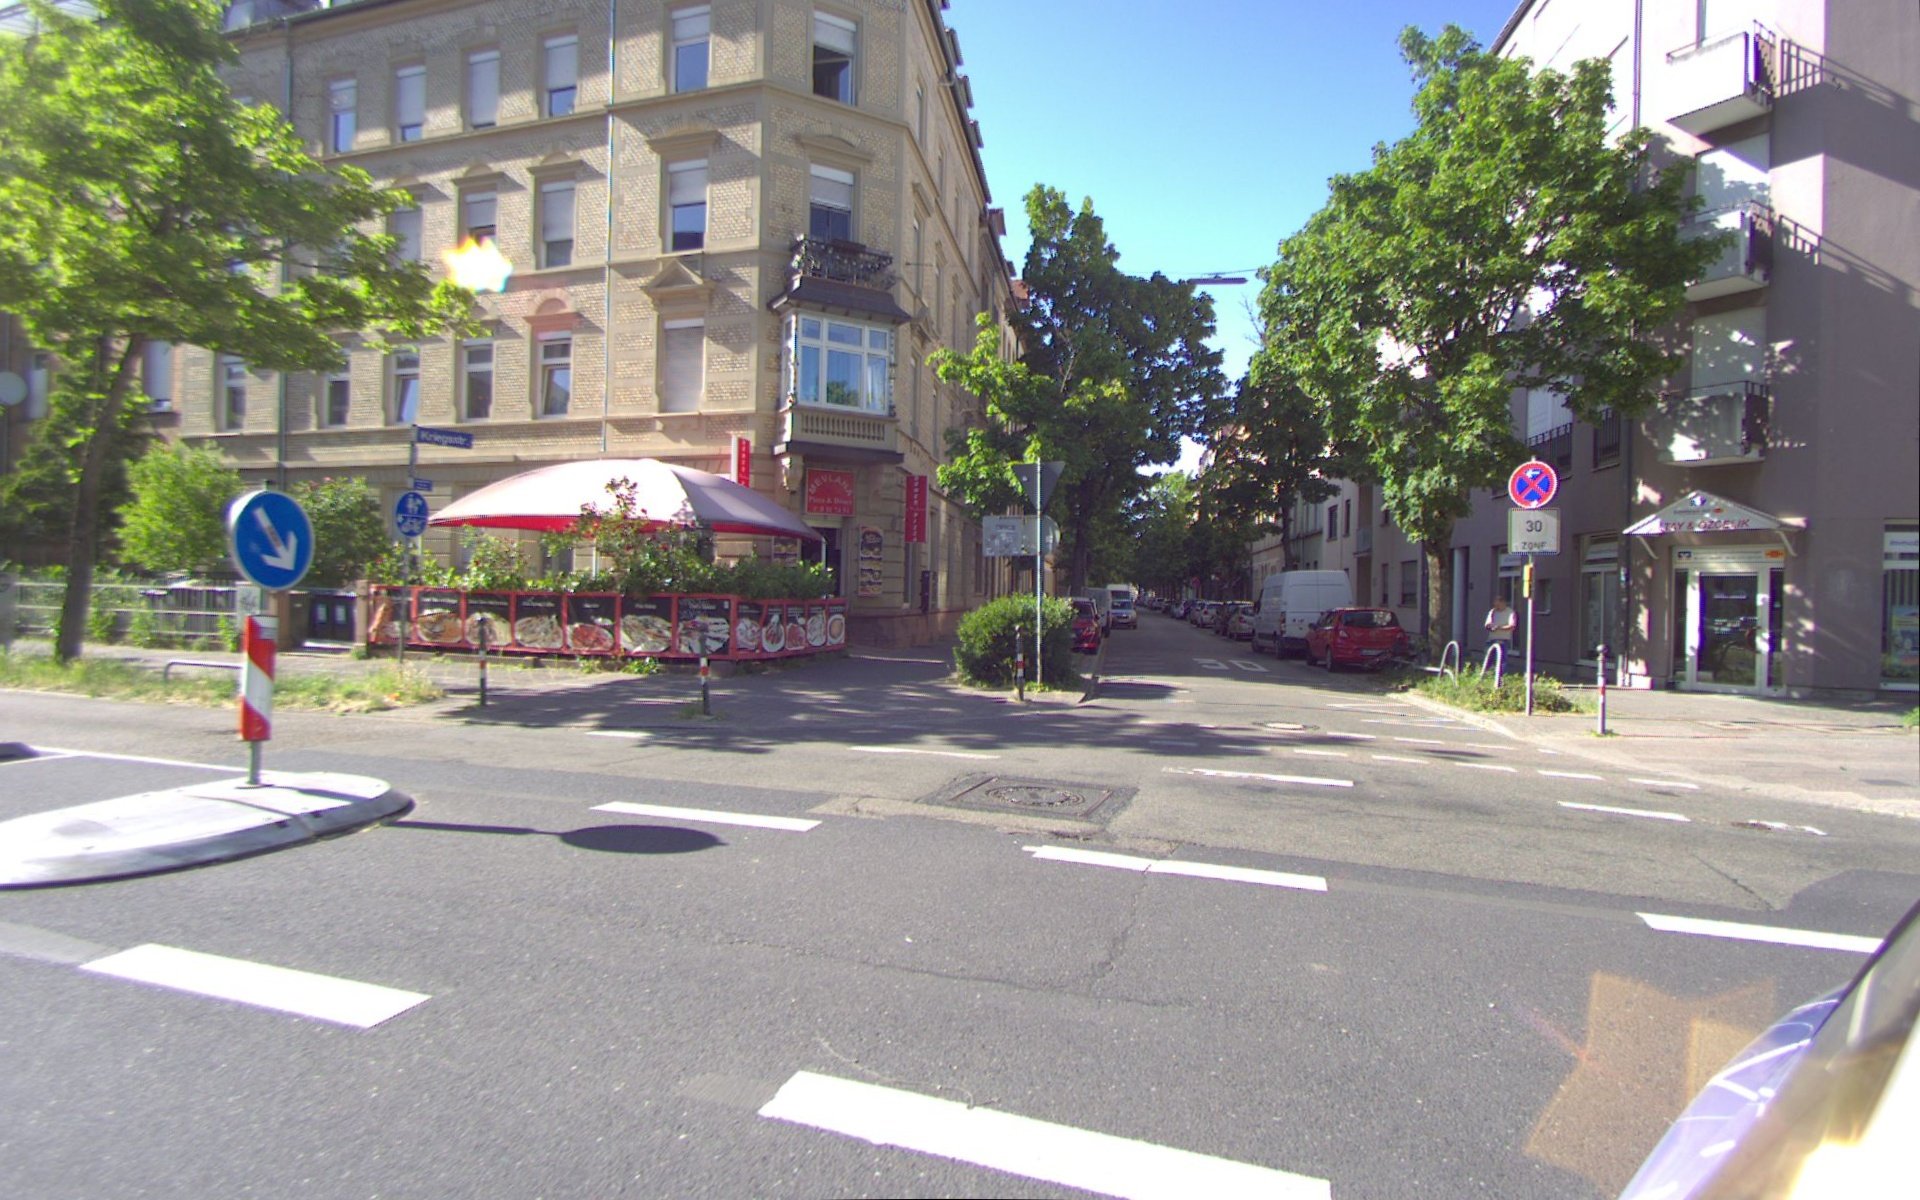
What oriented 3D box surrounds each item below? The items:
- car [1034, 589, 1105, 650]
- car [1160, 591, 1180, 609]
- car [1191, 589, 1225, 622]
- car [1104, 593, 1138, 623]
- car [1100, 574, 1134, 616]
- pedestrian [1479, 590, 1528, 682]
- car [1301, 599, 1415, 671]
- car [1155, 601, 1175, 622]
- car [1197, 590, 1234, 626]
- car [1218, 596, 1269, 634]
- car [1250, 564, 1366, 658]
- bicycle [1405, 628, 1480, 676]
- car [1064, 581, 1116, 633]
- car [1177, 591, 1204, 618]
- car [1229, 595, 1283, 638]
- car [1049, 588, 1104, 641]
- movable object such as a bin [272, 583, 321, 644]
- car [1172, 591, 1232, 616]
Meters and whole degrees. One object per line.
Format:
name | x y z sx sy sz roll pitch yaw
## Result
car | 3.152 0.546 28.521 1.750 1.459 3.990 4 0 8
car | 22.905 -0.009 110.730 1.837 1.791 3.991 1 1 8
car | 15.255 0.298 62.326 1.749 1.905 3.988 1 1 10
car | 8.338 0.429 52.689 1.666 1.492 3.990 1 0 8
car | 10.767 -0.324 69.691 2.238 2.696 4.311 1 -2 8
pedestrian | 9.752 0.635 18.155 0.632 1.596 0.523 2 1 44
car | 9.271 0.750 23.881 1.665 1.481 3.989 1 1 10
car | 19.680 1.096 97.240 1.749 1.905 3.988 1 1 10
car | 14.250 0.413 56.618 1.749 1.905 3.987 1 0 10
car | 12.823 0.634 45.952 1.757 1.576 3.812 1 1 9
car | 10.094 0.245 29.780 2.183 2.482 5.084 1 1 7
bicycle | 8.830 0.944 18.528 1.184 0.833 0.293 1 0 9
car | 5.541 0.297 42.698 1.965 2.055 4.290 1 0 10
car | 17.240 0.307 75.676 1.749 1.905 3.988 1 1 10
car | 12.070 0.635 41.461 1.668 1.576 3.812 1 1 9
car | 3.905 0.477 33.485 1.666 1.616 3.990 1 0 8
movable object such as a bin | -12.872 0.250 19.640 0.545 1.147 0.566 1 0 20
car | 16.962 0.246 71.100 3.935 1.607 1.812 1 -2 10
